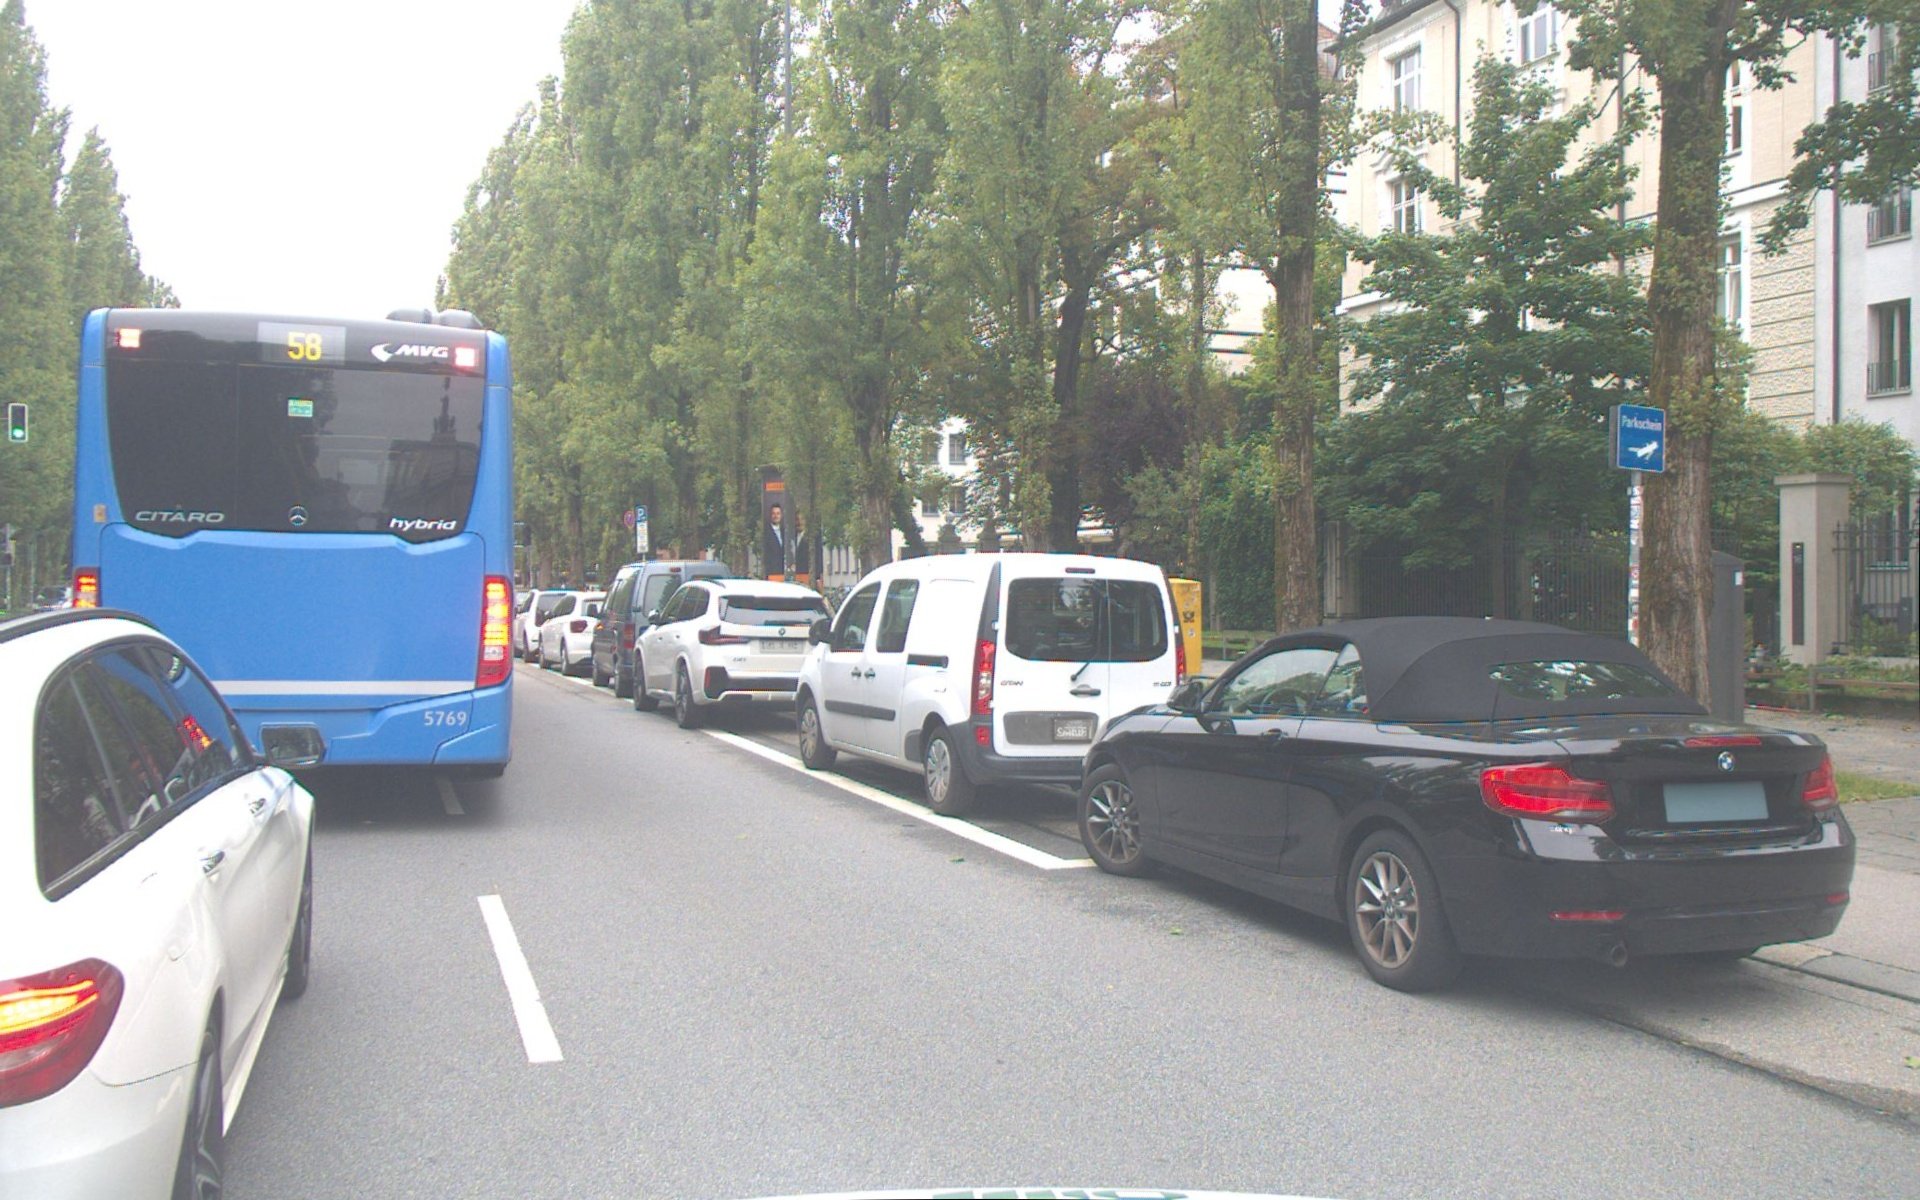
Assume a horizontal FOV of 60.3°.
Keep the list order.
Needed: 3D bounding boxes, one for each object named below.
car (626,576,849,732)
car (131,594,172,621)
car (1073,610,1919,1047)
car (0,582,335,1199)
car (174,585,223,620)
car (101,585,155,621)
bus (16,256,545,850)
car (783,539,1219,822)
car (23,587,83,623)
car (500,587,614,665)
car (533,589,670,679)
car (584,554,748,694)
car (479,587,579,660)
[{"bbox_3d":[-2.710,0.554,19.350,1.654,1.624,4.061,1,0,-21],"label":"car"},{"bbox_3d":[-51.468,0.474,105.361,1.966,1.620,4.414,-1,1,-22],"label":"car"},{"bbox_3d":[2.113,0.767,7.631,1.721,1.378,3.976,0,1,-20],"label":"car"},{"bbox_3d":[-2.686,0.694,4.252,1.798,1.480,4.558,1,0,-18],"label":"car"},{"bbox_3d":[-36.916,0.109,80.227,1.966,1.647,3.973,0,1,-22],"label":"car"},{"bbox_3d":[-36.650,0.101,72.920,1.796,1.512,3.973,0,1,-22],"label":"car"},{"bbox_3d":[-5.136,-0.304,13.856,2.810,3.269,9.018,0,1,-17],"label":"bus"},{"bbox_3d":[0.114,0.522,12.848,1.808,1.804,4.201,2,0,-23],"label":"car"},{"bbox_3d":[-39.371,0.181,71.880,1.796,1.512,3.973,0,1,-22],"label":"car"},{"bbox_3d":[-8.559,0.500,34.919,1.761,1.518,3.972,0,1,-23],"label":"car"},{"bbox_3d":[-6.606,0.555,30.198,1.774,1.501,3.972,0,1,-23],"label":"car"},{"bbox_3d":[-4.384,0.319,24.224,1.678,1.868,3.977,1,0,-20],"label":"car"},{"bbox_3d":[-10.394,0.519,39.710,1.784,1.646,3.972,0,1,-23],"label":"car"}]
